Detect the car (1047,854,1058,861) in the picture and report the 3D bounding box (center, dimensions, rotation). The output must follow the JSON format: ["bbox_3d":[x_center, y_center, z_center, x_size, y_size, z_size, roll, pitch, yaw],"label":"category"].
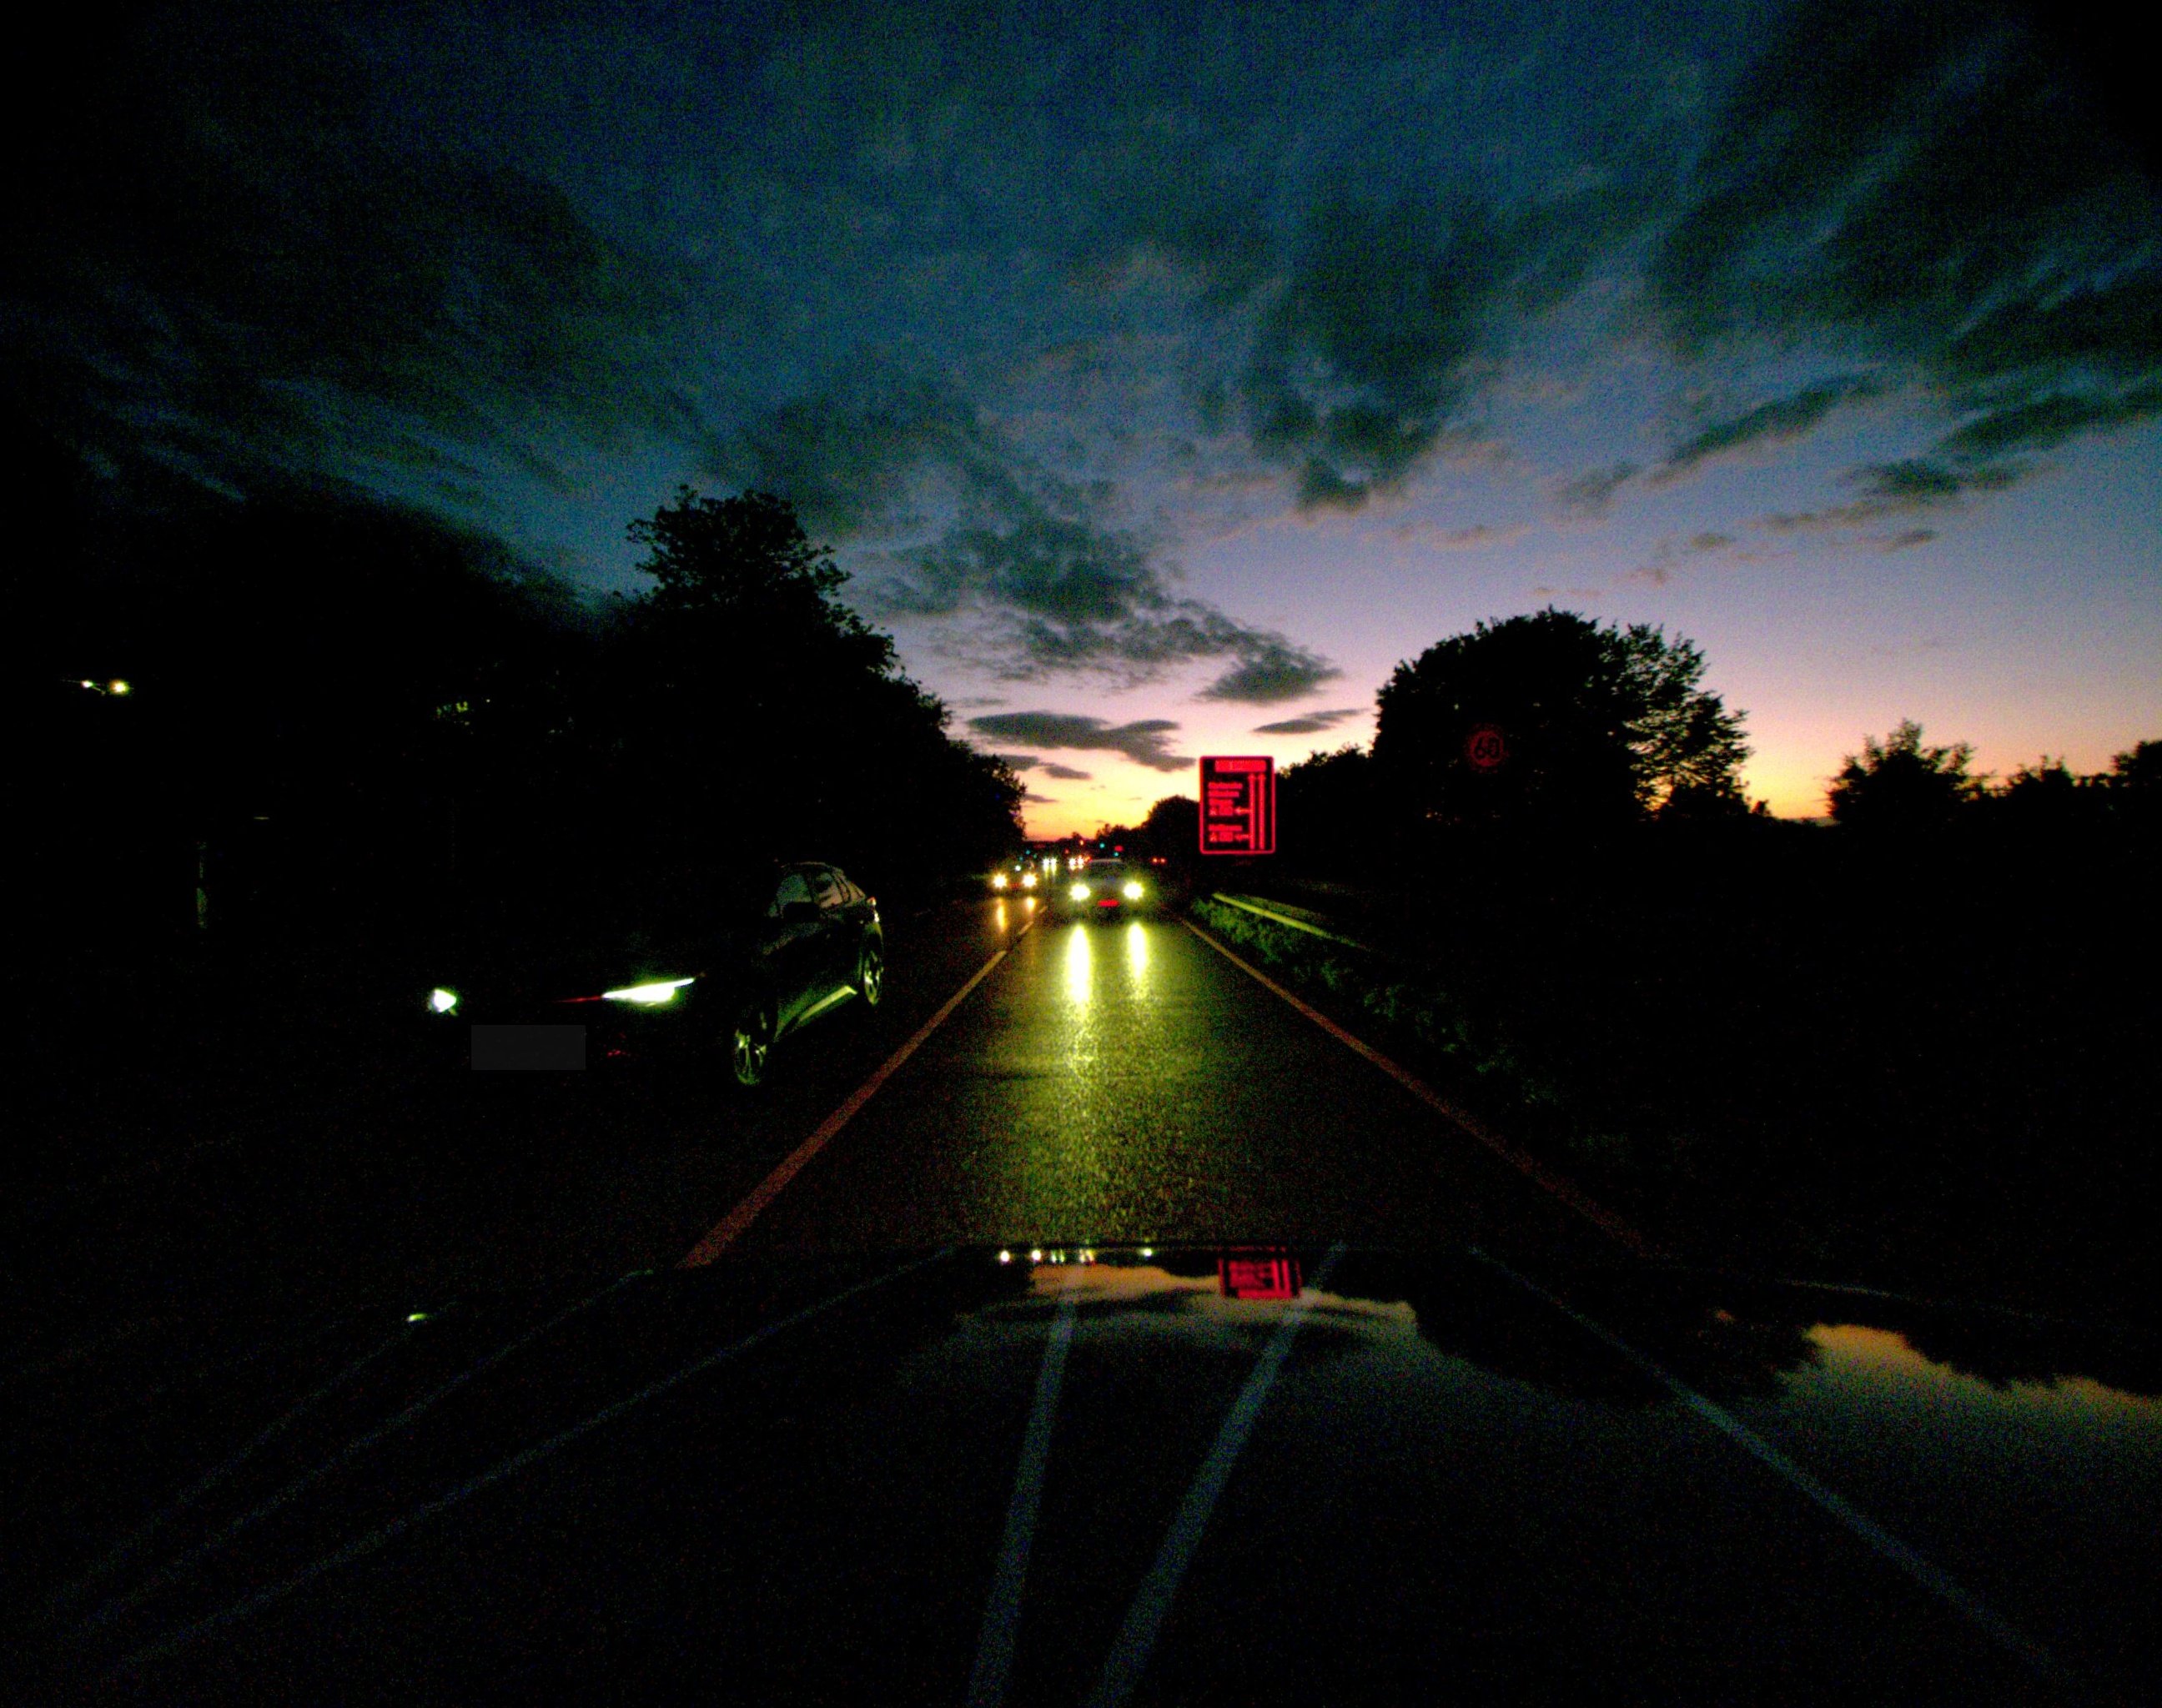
[{"bbox_3d":[-5.800,0.643,155.592,1.999,1.423,4.501,0,0,-1],"label":"car"}]

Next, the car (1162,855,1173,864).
[{"bbox_3d":[16.503,0.986,144.474,1.797,1.661,4.505,-1,0,11],"label":"car"}]

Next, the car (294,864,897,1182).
[{"bbox_3d":[-3.188,0.945,6.453,1.998,1.600,4.711,-2,0,1],"label":"car"}]

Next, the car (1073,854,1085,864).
[{"bbox_3d":[-0.382,0.841,134.282,1.999,1.602,4.501,-1,0,-1],"label":"car"}]

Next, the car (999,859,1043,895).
[{"bbox_3d":[-2.677,0.994,34.541,1.624,1.460,3.871,-2,0,1],"label":"car"}]

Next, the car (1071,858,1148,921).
[{"bbox_3d":[0.708,0.903,21.287,1.901,1.472,4.514,-2,0,0],"label":"car"}]
